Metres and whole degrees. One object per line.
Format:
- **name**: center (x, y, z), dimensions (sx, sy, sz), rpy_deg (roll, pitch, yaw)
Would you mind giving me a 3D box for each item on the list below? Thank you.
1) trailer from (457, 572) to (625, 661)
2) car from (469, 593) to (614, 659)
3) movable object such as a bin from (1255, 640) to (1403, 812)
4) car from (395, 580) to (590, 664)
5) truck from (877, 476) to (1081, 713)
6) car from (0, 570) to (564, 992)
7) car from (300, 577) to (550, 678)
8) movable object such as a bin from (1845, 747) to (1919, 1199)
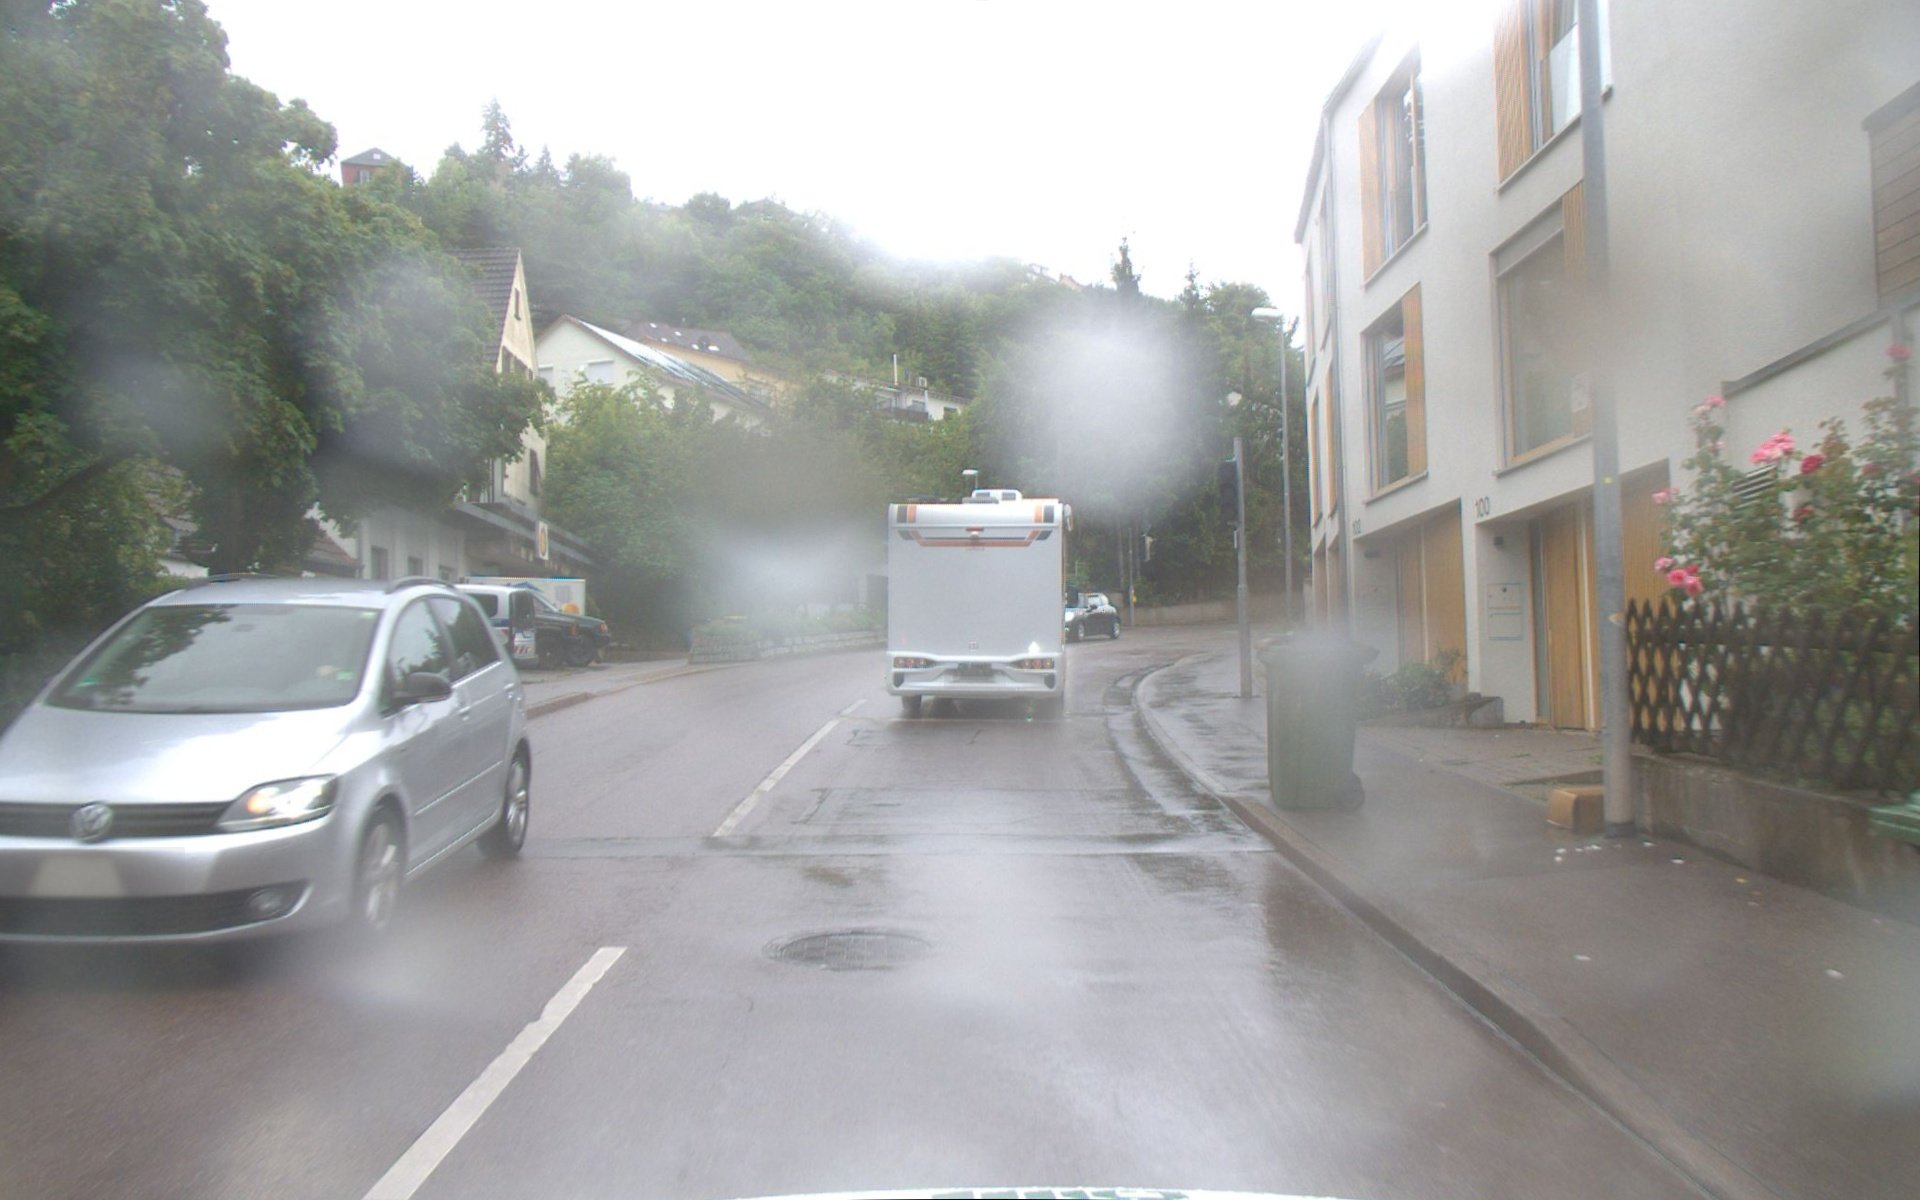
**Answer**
- **trailer**: center (-10.809, 0.417, 42.648), dimensions (3.896, 2.139, 1.939), rpy_deg (-2, -1, -24)
- **car**: center (-9.958, 0.599, 39.592), dimensions (3.276, 1.511, 1.834), rpy_deg (0, 0, -12)
- **movable object such as a bin**: center (2.432, 0.818, 10.974), dimensions (0.818, 1.079, 0.750), rpy_deg (0, 0, 0)
- **car**: center (-10.375, 0.482, 36.966), dimensions (4.003, 1.805, 1.795), rpy_deg (1, 0, -11)
- **truck**: center (0.289, -0.081, 23.069), dimensions (2.463, 2.867, 6.202), rpy_deg (0, 0, 1)
- **car**: center (-3.210, 0.667, 8.129), dimensions (1.768, 1.581, 3.827), rpy_deg (0, 0, -3)
- **car**: center (-9.963, 0.500, 31.055), dimensions (4.021, 1.831, 2.000), rpy_deg (0, 0, 0)
- **movable object such as a bin**: center (2.472, 0.893, 3.517), dimensions (0.780, 1.089, 0.761), rpy_deg (0, 0, 0)
